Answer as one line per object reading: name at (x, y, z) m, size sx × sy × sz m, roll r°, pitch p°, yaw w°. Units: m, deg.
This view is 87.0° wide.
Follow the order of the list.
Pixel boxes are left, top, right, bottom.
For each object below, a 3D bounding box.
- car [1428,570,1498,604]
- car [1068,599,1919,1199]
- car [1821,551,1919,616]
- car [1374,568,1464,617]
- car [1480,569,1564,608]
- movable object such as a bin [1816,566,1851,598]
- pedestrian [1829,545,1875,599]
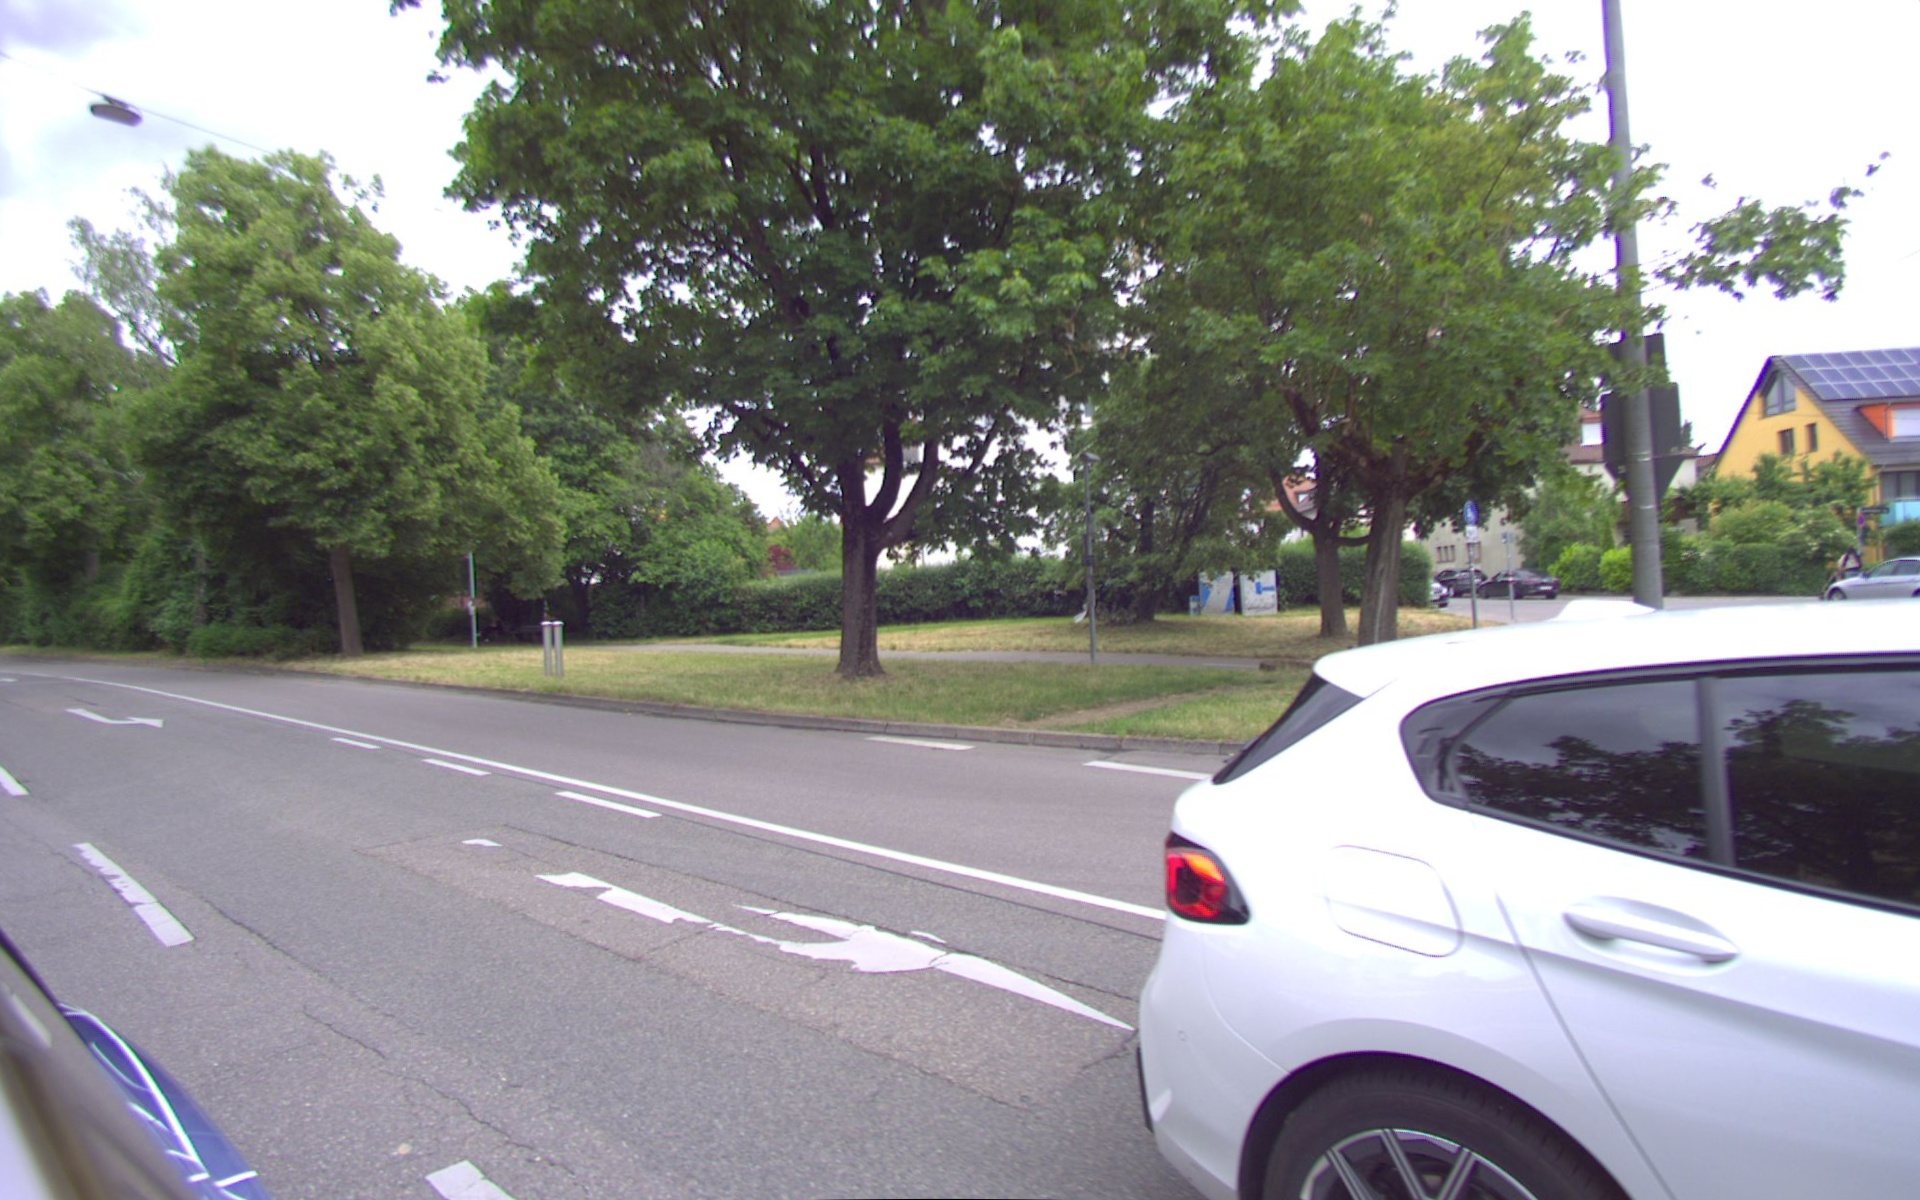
car at (25.675, -0.708, 51.831) m, size 1.781 × 1.546 × 3.885 m, roll -4°, pitch 2°, yaw 5°
car at (2.392, 0.770, 1.305) m, size 4.205 × 1.529 × 1.777 m, roll -2°, pitch 0°, yaw 42°
car at (23.908, -0.430, 25.133) m, size 1.662 × 1.545 × 4.228 m, roll -1°, pitch 1°, yaw 5°
car at (18.539, -0.342, 41.069) m, size 1.758 × 1.762 × 3.999 m, roll -4°, pitch 1°, yaw 1°
car at (25.377, -0.563, 45.819) m, size 1.781 × 1.546 × 3.885 m, roll -4°, pitch 2°, yaw 5°
movable object such as a bin at (28.026, -0.585, 32.481) m, size 0.399 × 1.004 × 0.877 m, roll -4°, pitch 1°, yaw 7°
pedestrian at (27.913, -0.877, 31.681) m, size 0.673 × 1.645 × 0.780 m, roll -4°, pitch 1°, yaw 7°
